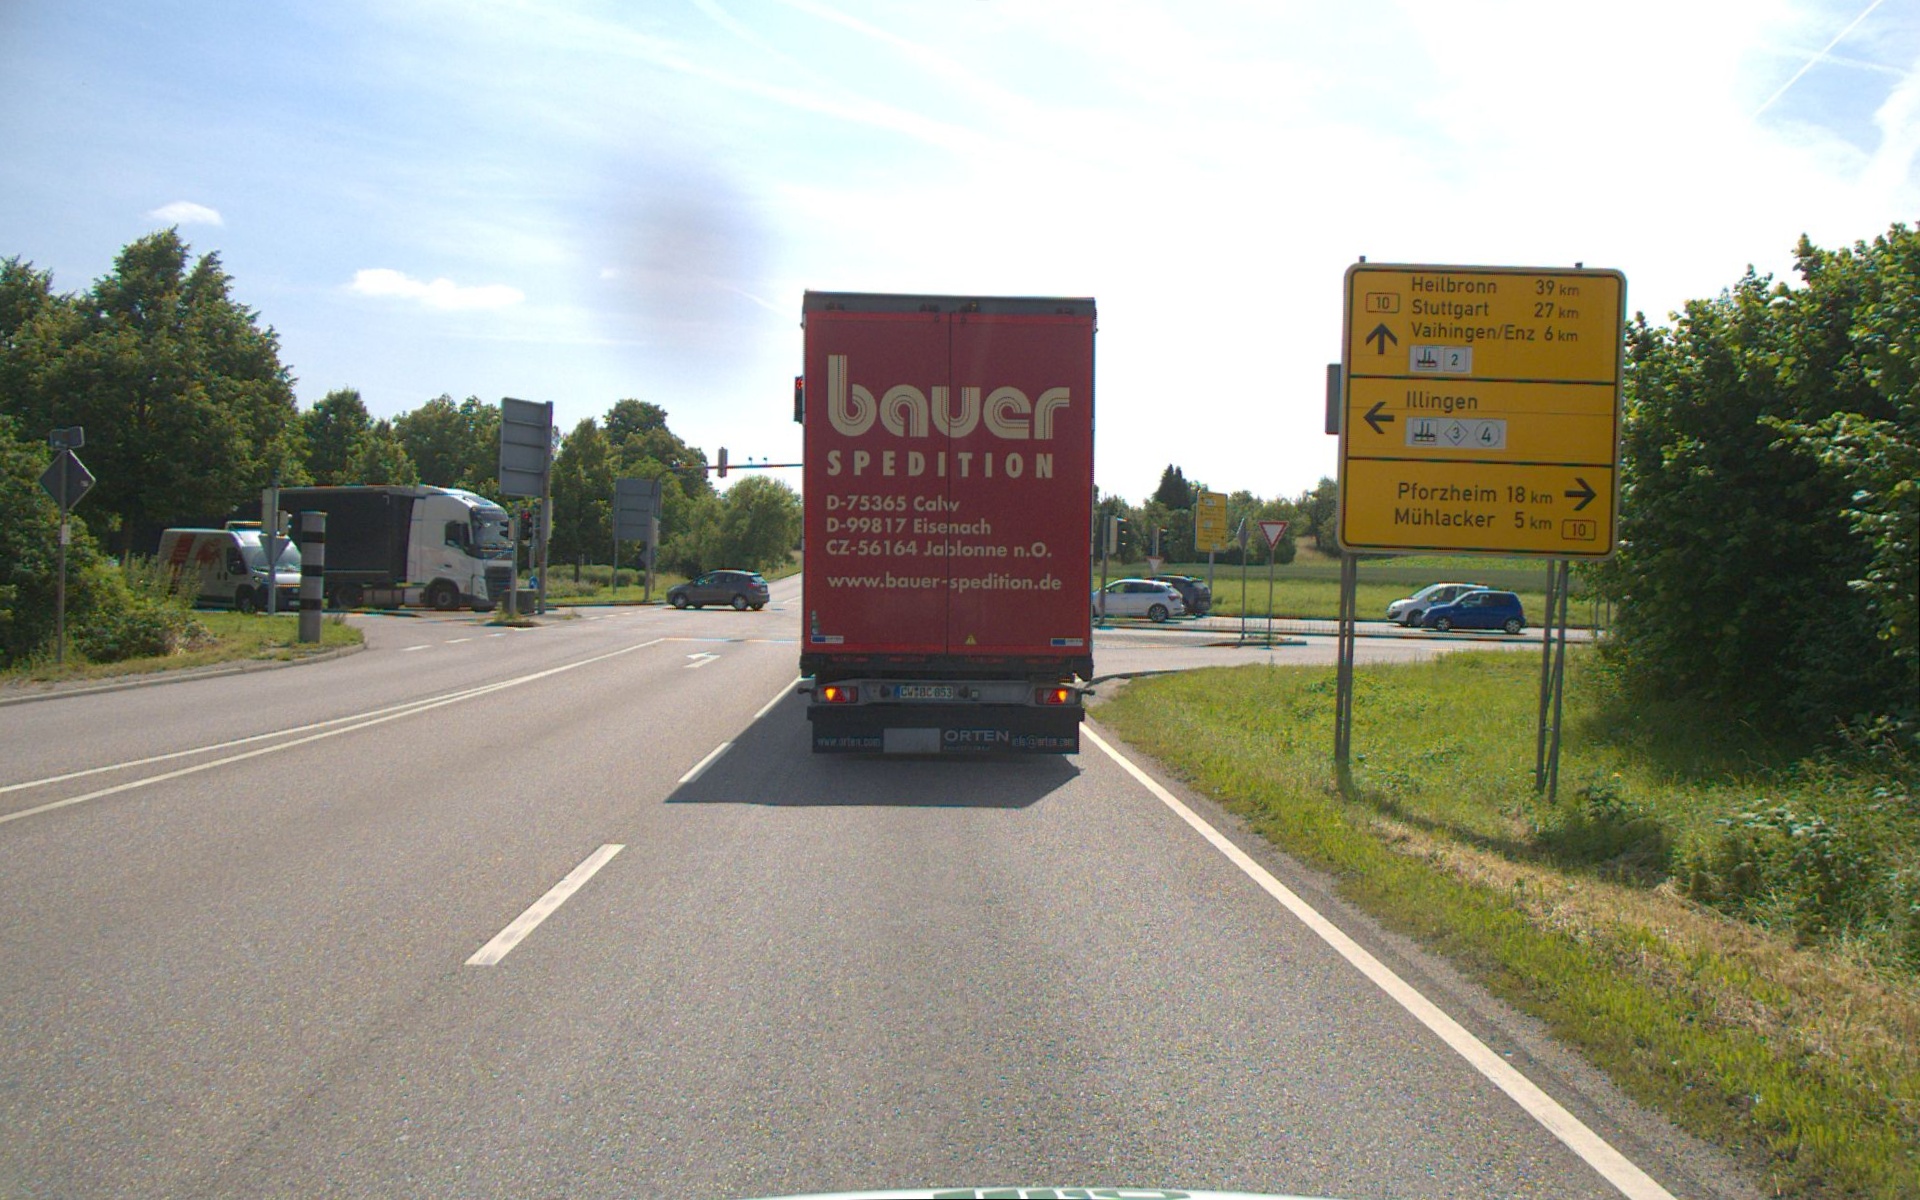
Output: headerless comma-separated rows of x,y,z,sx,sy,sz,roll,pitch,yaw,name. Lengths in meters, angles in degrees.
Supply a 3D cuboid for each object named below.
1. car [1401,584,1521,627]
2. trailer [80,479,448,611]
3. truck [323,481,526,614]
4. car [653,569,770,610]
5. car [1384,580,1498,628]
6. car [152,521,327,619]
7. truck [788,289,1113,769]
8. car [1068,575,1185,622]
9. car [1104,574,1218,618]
17.197,0.176,56.904,3.766,1.380,1.678,2,0,12,car
-23.797,-1.954,56.247,13.404,4.131,2.798,2,1,22,trailer
-17.455,-1.737,53.956,5.704,4.131,2.800,2,1,18,truck
-9.430,-0.397,62.946,3.902,1.454,2.002,2,0,11,car
17.455,0.147,60.140,3.746,1.662,1.762,1,0,6,car
-21.170,-0.919,48.481,5.868,2.700,2.116,2,2,37,car
-0.341,-0.716,22.210,2.679,3.993,16.620,1,1,-2,truck
6.013,-0.055,59.659,4.012,1.574,1.875,1,0,11,car
7.994,-0.157,65.925,4.199,1.685,1.694,1,0,34,car
